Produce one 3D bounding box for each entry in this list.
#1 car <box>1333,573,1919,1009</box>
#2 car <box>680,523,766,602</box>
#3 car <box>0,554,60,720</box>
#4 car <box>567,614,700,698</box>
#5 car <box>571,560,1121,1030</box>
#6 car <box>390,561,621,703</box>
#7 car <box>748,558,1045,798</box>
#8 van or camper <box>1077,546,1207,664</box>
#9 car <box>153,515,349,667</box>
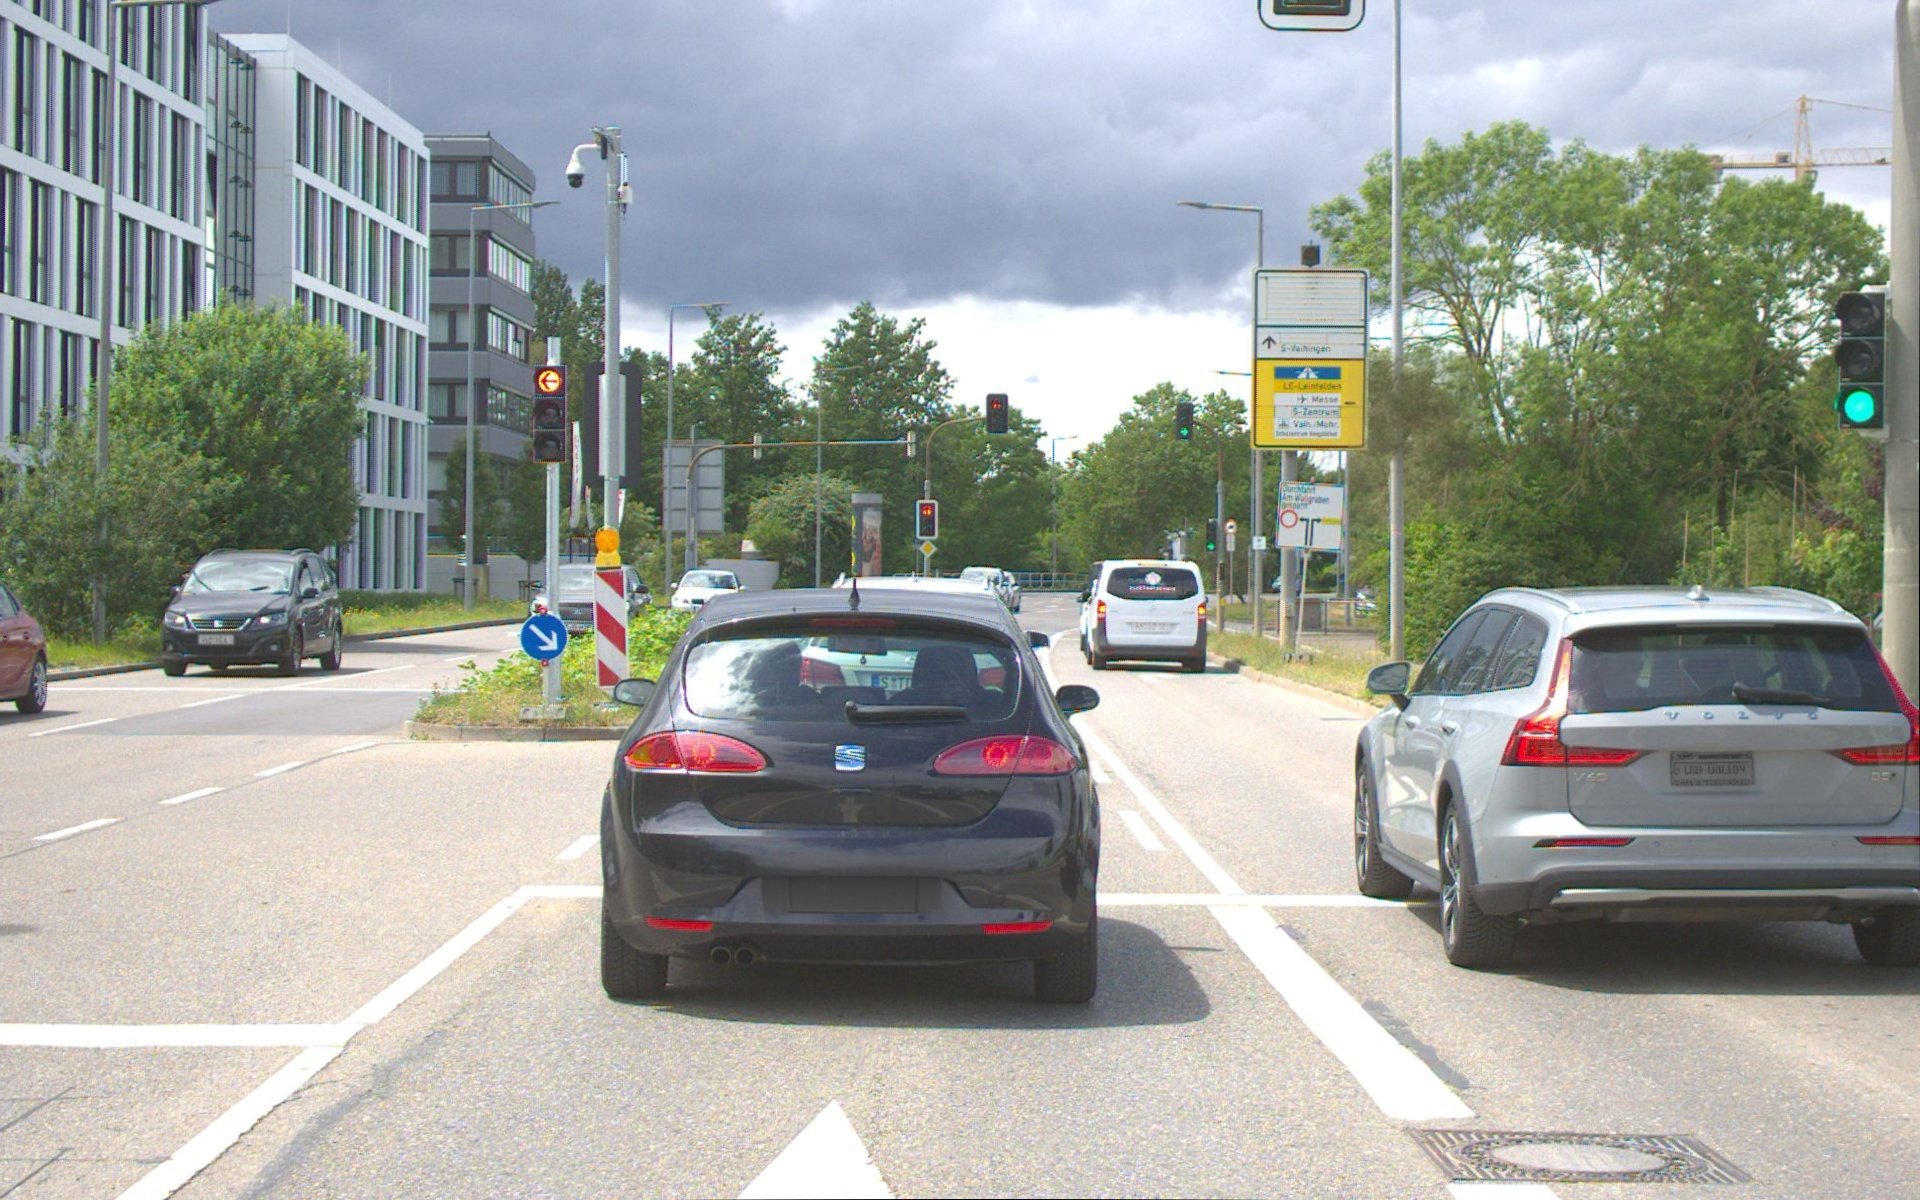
[{"bbox_3d":[2.801,0.679,14.404,1.958,1.520,4.340,-1,0,0],"label":"car"},{"bbox_3d":[-6.094,-0.940,88.716,1.993,2.007,4.000,0,0,-1],"label":"car"},{"bbox_3d":[-10.198,0.360,33.498,1.776,1.606,4.000,0,0,1],"label":"car"},{"bbox_3d":[-5.646,0.953,59.867,1.993,1.404,4.000,0,0,-1],"label":"car"},{"bbox_3d":[-0.282,0.634,13.193,1.748,1.479,4.000,2,0,3],"label":"car"},{"bbox_3d":[-4.857,0.331,37.219,1.845,1.456,4.055,0,0,2],"label":"car"},{"bbox_3d":[-0.474,0.499,25.280,1.983,1.585,4.226,1,1,-1],"label":"car"},{"bbox_3d":[3.033,0.077,58.009,1.899,1.919,4.000,0,0,-1],"label":"van or camper"},{"bbox_3d":[-9.768,-0.117,47.688,1.993,2.007,4.481,0,0,-3],"label":"car"}]
